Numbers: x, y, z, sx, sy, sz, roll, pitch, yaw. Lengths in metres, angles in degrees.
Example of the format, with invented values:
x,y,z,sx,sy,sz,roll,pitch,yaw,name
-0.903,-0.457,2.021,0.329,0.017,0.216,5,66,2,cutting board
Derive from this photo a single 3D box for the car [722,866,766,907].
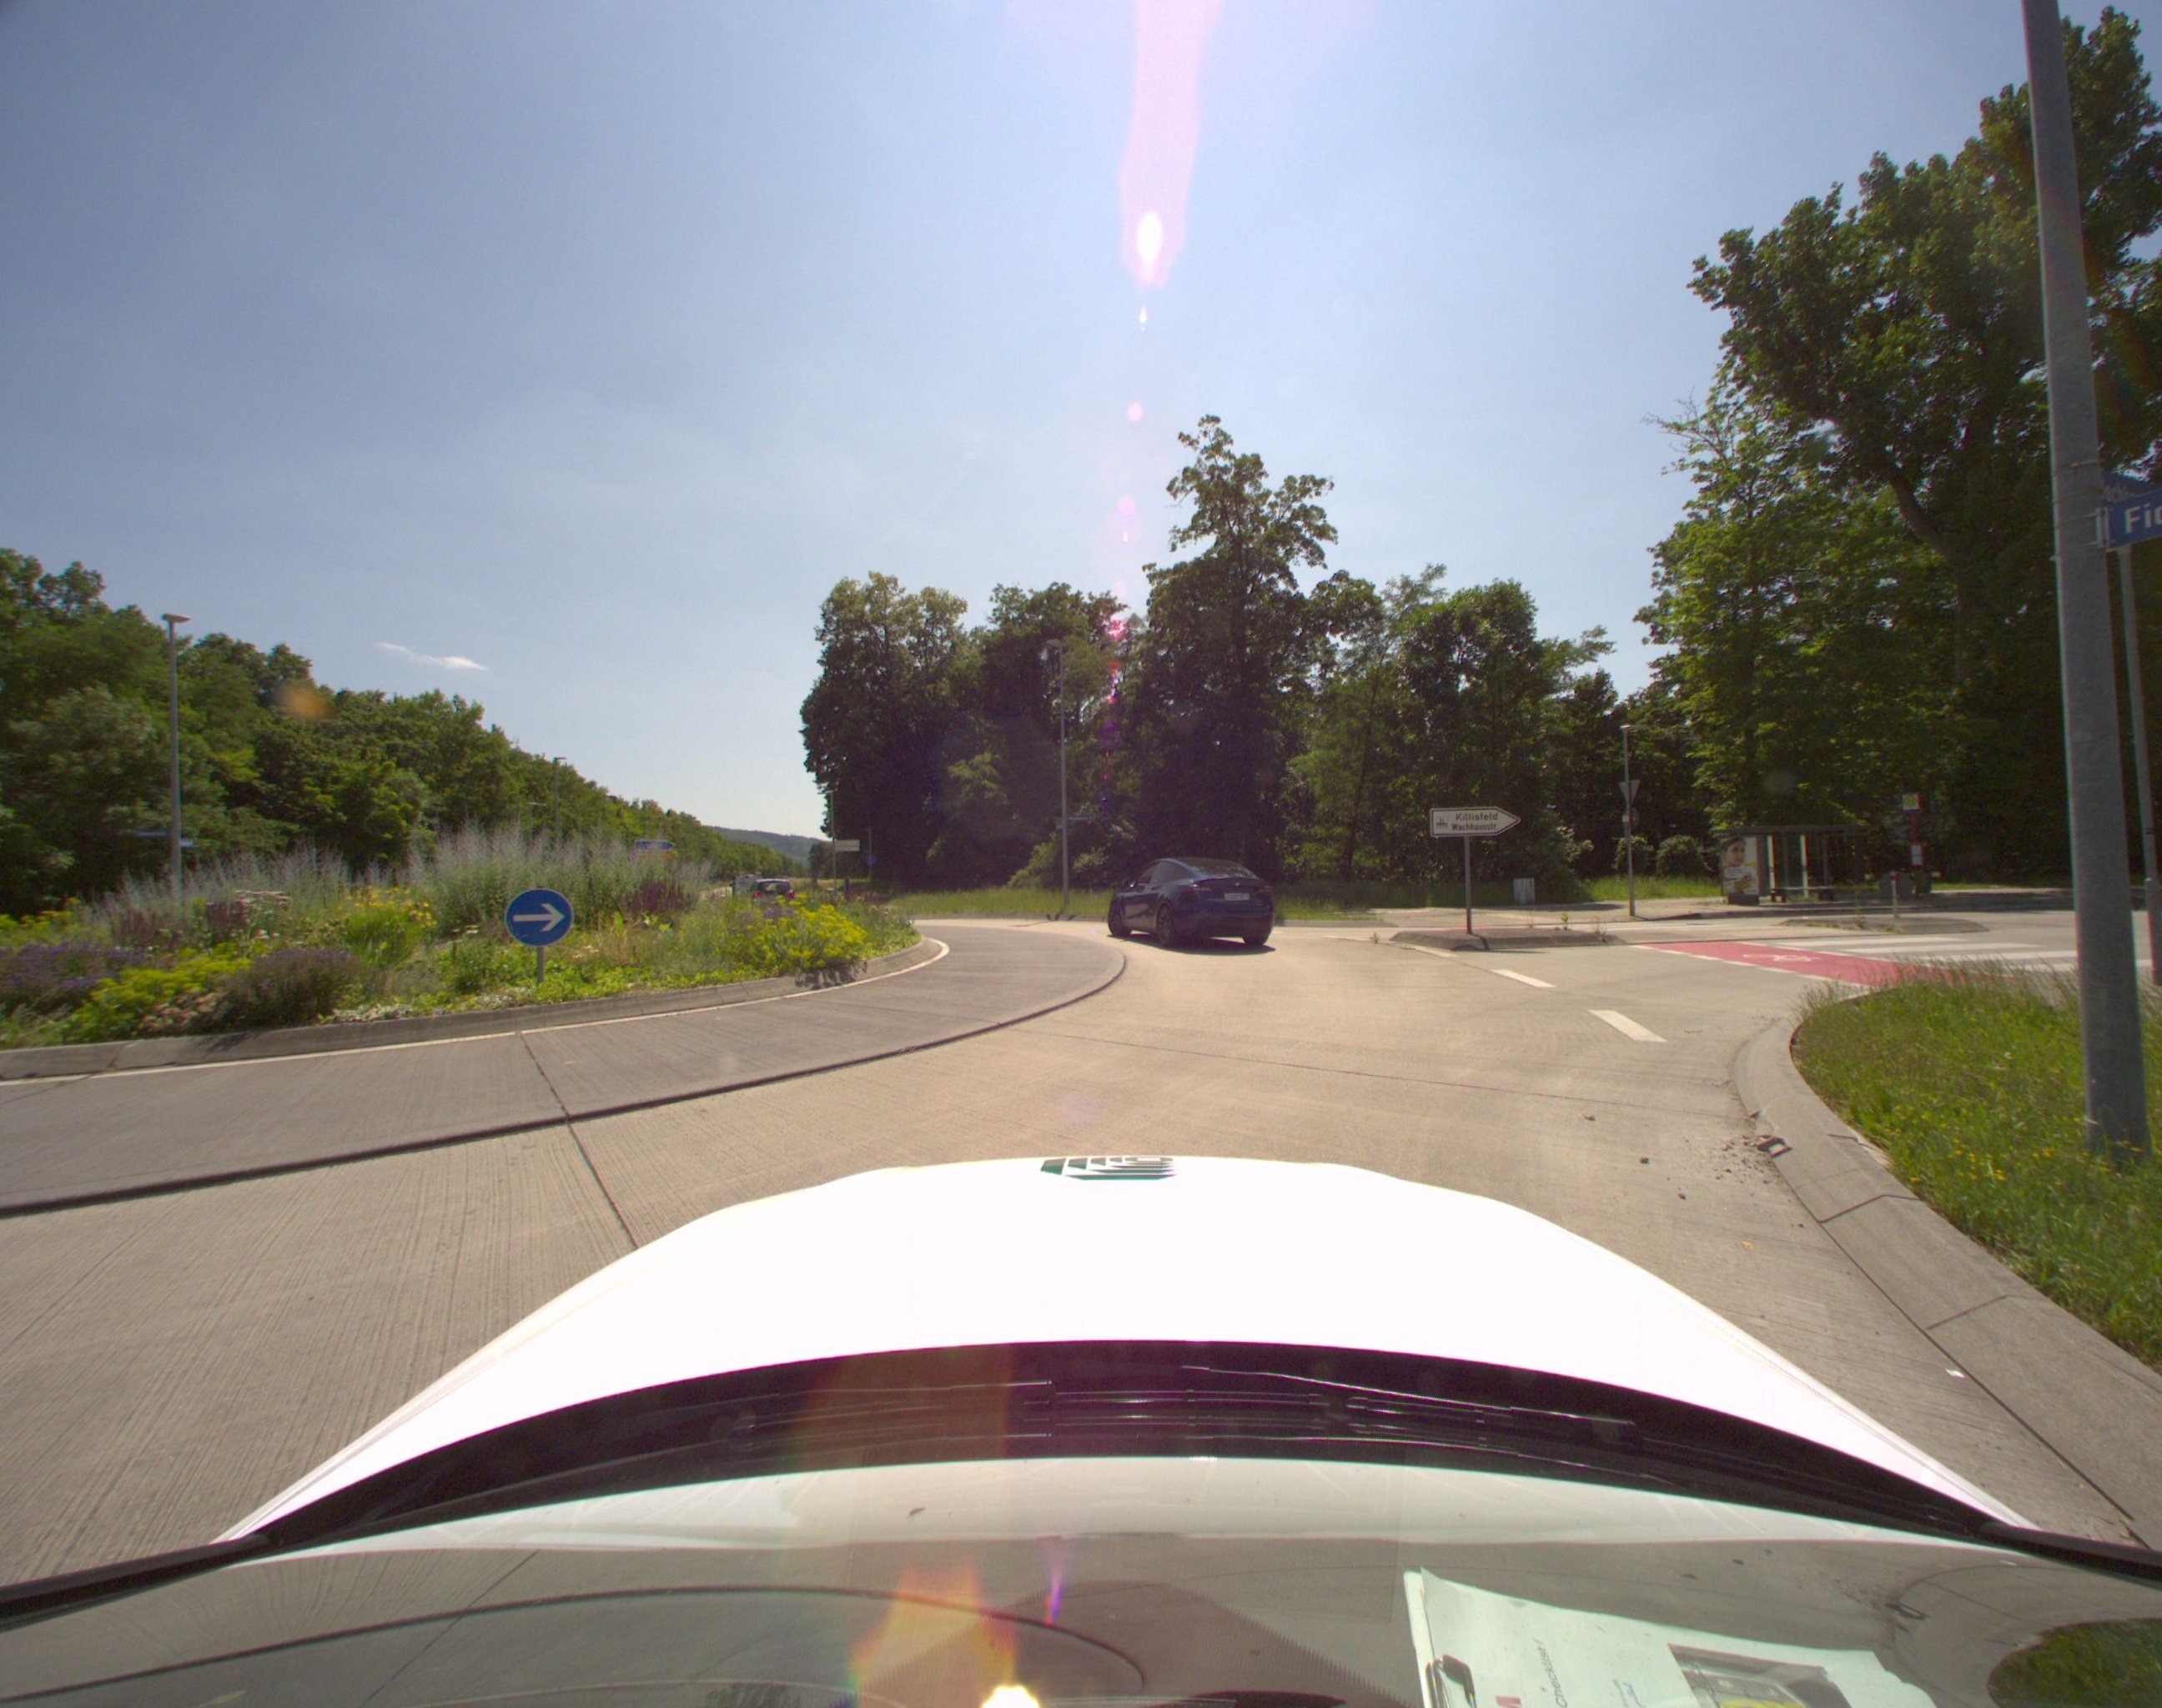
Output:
x,y,z,sx,sy,sz,roll,pitch,yaw,name
-20.598,1.961,49.635,2.177,2.316,4.938,0,-2,-26,car

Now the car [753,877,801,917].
x,y,z,sx,sy,sz,roll,pitch,yaw,name
-13.245,1.839,35.364,1.792,1.607,4.095,0,-2,-23,car

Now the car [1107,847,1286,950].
x,y,z,sx,sy,sz,roll,pitch,yaw,name
2.008,0.778,15.788,1.994,1.640,4.739,-1,-1,-11,car

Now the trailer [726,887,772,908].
x,y,z,sx,sy,sz,roll,pitch,yaw,name
-18.762,2.415,45.923,2.133,1.097,3.324,0,-2,-27,trailer
